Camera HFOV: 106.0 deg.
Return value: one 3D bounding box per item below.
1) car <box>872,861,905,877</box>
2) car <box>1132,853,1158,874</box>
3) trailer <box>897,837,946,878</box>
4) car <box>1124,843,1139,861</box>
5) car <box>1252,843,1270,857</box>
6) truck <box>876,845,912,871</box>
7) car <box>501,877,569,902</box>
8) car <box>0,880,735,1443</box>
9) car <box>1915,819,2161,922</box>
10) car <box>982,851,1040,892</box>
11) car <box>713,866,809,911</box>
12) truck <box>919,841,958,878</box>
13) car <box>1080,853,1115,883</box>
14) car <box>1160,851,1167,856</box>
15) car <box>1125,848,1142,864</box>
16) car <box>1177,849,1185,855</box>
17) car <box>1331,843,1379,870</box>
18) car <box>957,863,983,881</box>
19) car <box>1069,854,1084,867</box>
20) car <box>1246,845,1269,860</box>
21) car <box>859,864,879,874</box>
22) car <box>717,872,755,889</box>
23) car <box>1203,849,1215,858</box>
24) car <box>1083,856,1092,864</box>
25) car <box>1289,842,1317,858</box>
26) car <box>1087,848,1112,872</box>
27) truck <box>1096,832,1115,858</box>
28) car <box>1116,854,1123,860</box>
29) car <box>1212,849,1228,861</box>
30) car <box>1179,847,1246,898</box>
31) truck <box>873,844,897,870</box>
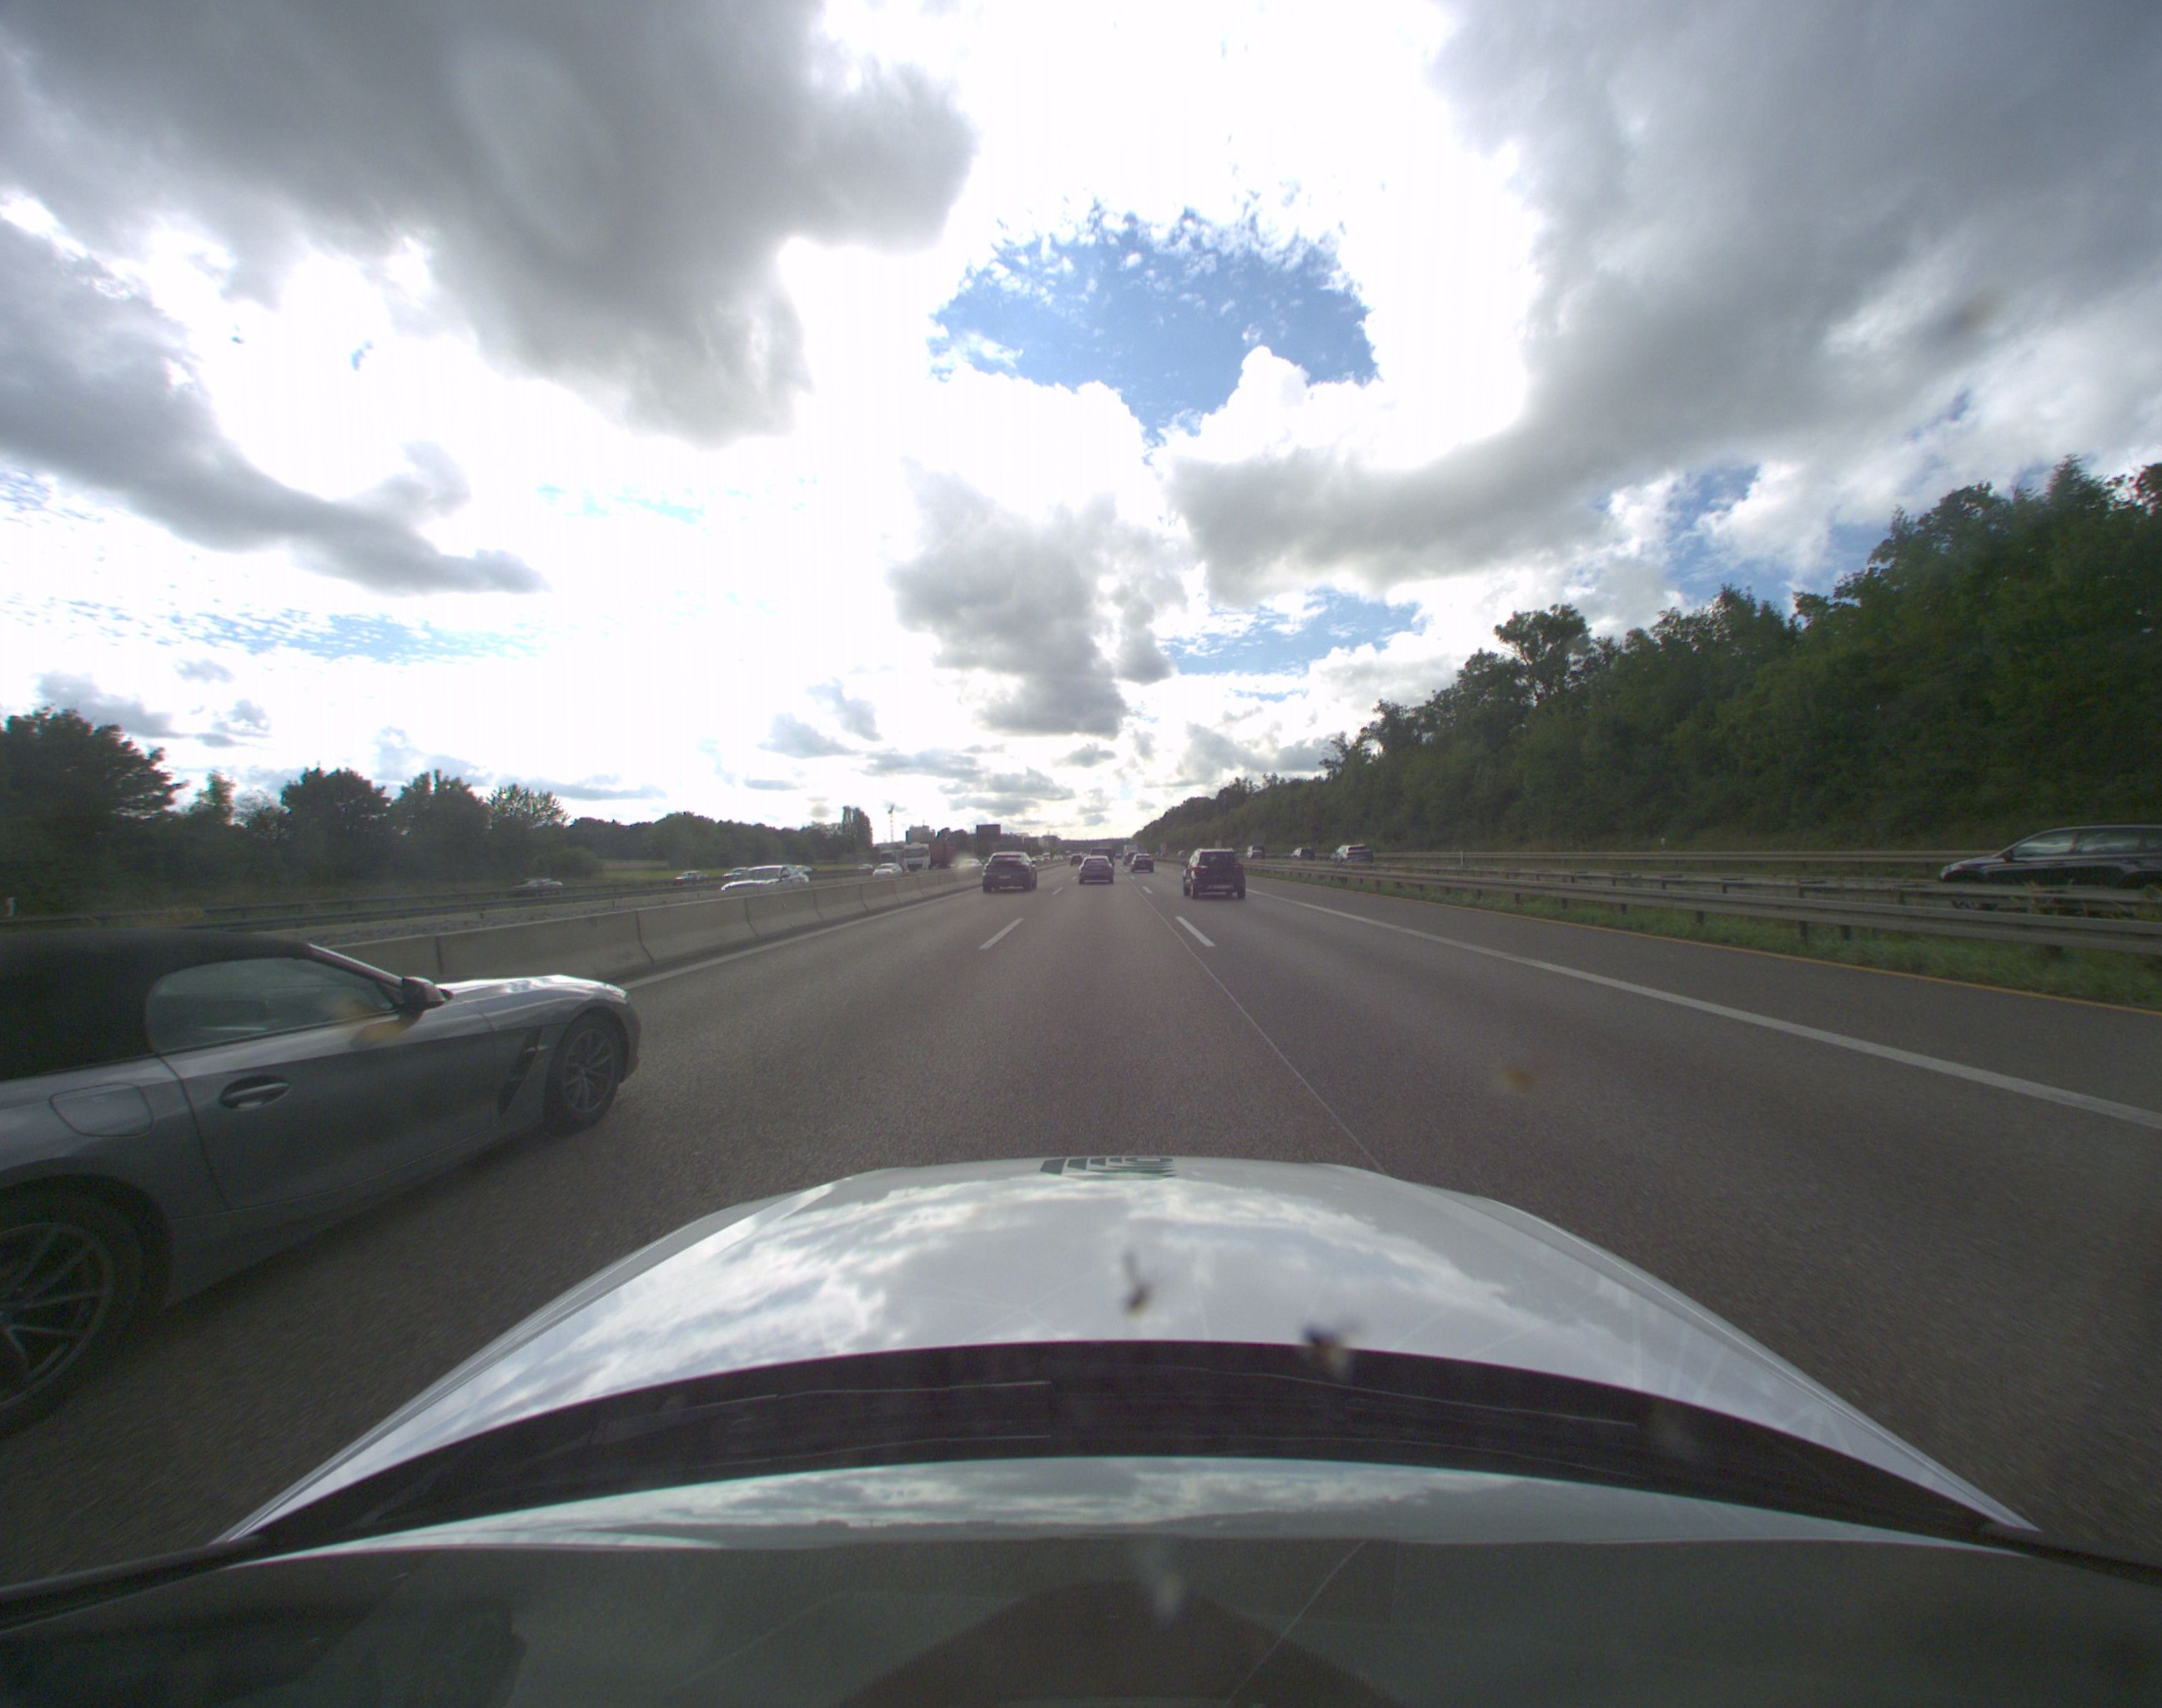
[{"bbox_3d":[-16.161,1.226,68.662,1.649,1.192,4.132,-2,0,1],"label":"car"},{"bbox_3d":[5.099,0.731,65.396,1.825,1.521,4.226,-1,0,1],"label":"car"},{"bbox_3d":[-17.800,0.372,91.502,3.036,4.288,10.657,-2,0,1],"label":"trailer"},{"bbox_3d":[6.769,-0.253,109.951,1.866,2.357,4.283,-1,0,1],"label":"car"},{"bbox_3d":[24.227,-0.504,109.733,1.590,1.804,3.824,-1,0,0],"label":"car"},{"bbox_3d":[-36.307,0.719,158.833,3.062,4.802,14.133,-1,0,2],"label":"truck"},{"bbox_3d":[-38.779,2.504,57.992,1.722,1.533,4.454,-1,0,2],"label":"car"},{"bbox_3d":[-3.686,0.884,3.823,1.866,1.302,4.944,-1,0,1],"label":"car"},{"bbox_3d":[17.171,0.212,13.624,1.836,1.484,4.527,-4,0,2],"label":"car"},{"bbox_3d":[-2.979,0.699,35.802,1.905,1.636,5.502,-1,0,1],"label":"car"},{"bbox_3d":[-11.580,1.193,29.794,1.750,1.402,4.076,-2,0,2],"label":"car"},{"bbox_3d":[-17.581,0.632,101.167,3.036,4.288,8.590,-2,0,1],"label":"truck"},{"bbox_3d":[0.868,0.687,42.727,1.714,1.479,4.393,-1,0,1],"label":"car"},{"bbox_3d":[23.452,-0.118,231.758,1.722,1.533,4.454,-2,0,1],"label":"car"},{"bbox_3d":[6.606,0.280,102.900,1.906,1.919,4.032,-1,0,1],"label":"car"},{"bbox_3d":[26.583,-0.439,217.080,1.746,1.517,4.190,-1,0,1],"label":"car"},{"bbox_3d":[18.618,0.166,55.444,1.840,1.650,4.307,-4,0,2],"label":"car"},{"bbox_3d":[-10.657,1.701,78.267,1.682,1.504,4.644,-2,0,1],"label":"car"},{"bbox_3d":[-0.620,0.874,110.961,1.866,1.698,4.073,-1,0,1],"label":"car"},{"bbox_3d":[19.601,-0.157,90.573,1.590,1.546,4.190,-1,0,0],"label":"car"},{"bbox_3d":[-32.669,2.287,125.727,1.722,1.533,4.454,-1,0,2],"label":"car"},{"bbox_3d":[-34.543,2.656,81.640,1.722,1.533,4.454,-1,0,2],"label":"car"},{"bbox_3d":[24.929,-0.126,159.101,1.745,1.695,4.191,-1,0,1],"label":"car"},{"bbox_3d":[1.257,1.137,156.156,1.691,1.611,4.114,-2,0,1],"label":"car"},{"bbox_3d":[22.972,-0.432,84.379,1.723,1.546,4.305,-4,0,0],"label":"car"},{"bbox_3d":[1.394,0.419,60.728,1.714,1.724,4.393,-1,0,1],"label":"car"},{"bbox_3d":[4.428,-1.589,146.969,3.251,4.375,11.030,-1,0,2],"label":"truck"},{"bbox_3d":[9.980,0.763,213.024,1.745,1.695,4.191,-1,0,1],"label":"car"},{"bbox_3d":[20.991,0.131,122.728,1.745,1.695,4.191,-1,0,1],"label":"car"},{"bbox_3d":[4.449,0.587,28.037,1.691,1.564,4.114,-2,0,1],"label":"car"},{"bbox_3d":[-36.594,0.593,152.025,3.034,4.658,5.075,-2,0,2],"label":"truck"}]
